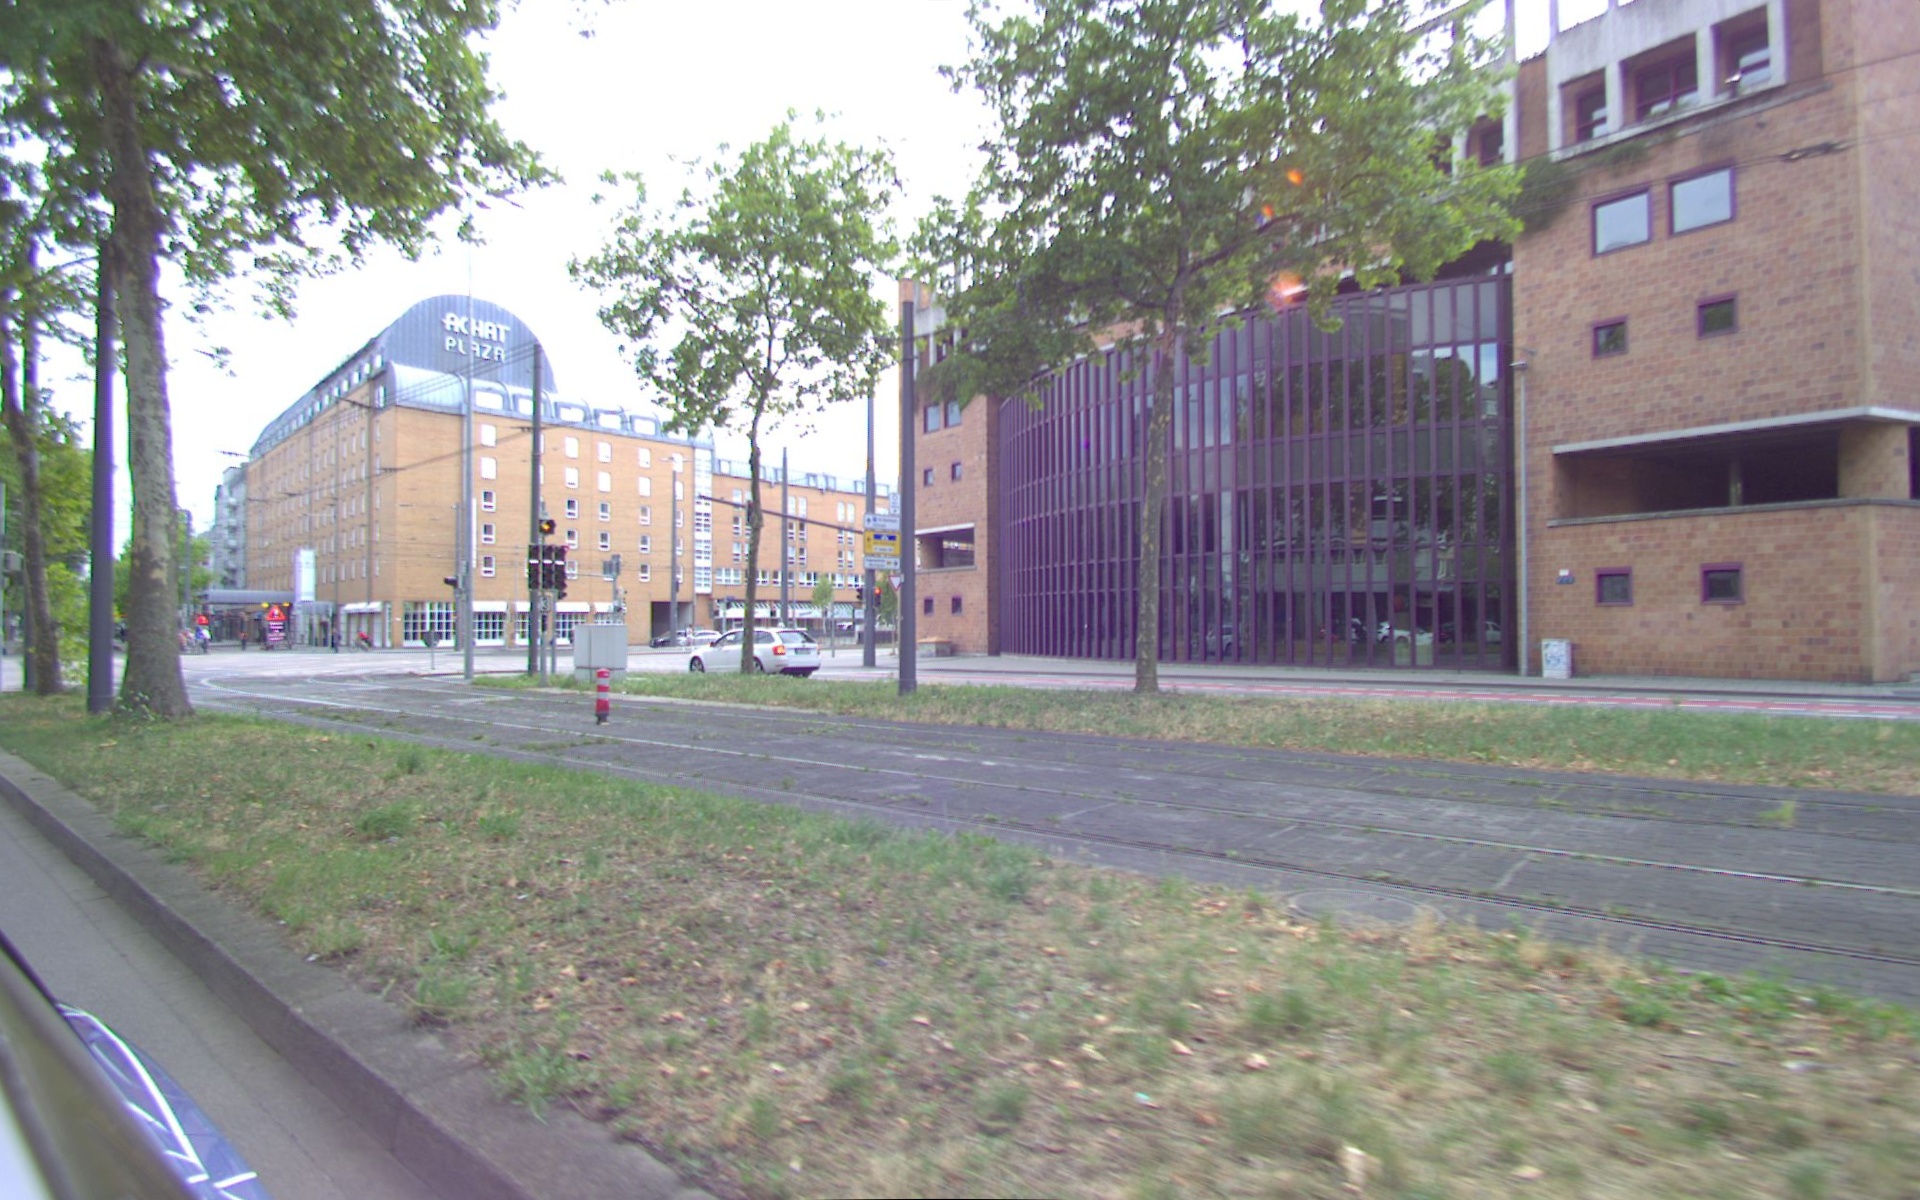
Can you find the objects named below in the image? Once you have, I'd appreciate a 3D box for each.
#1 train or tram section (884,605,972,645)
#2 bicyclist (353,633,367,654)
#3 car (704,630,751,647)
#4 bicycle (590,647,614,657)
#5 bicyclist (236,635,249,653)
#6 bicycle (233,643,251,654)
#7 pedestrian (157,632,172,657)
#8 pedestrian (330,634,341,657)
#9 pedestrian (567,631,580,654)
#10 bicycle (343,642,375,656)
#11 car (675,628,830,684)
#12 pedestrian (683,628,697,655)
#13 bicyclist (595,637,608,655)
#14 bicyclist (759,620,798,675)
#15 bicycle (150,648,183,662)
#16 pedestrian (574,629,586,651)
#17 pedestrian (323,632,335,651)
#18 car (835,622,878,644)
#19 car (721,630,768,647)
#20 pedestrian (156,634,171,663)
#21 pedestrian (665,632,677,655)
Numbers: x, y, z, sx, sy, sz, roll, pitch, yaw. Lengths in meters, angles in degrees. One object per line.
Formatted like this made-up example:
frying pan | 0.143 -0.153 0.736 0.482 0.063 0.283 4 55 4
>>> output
train or tram section | -2.816 2.318 93.633 2.574 3.477 9.482 -2 -3 39
bicyclist | -45.418 3.280 76.550 0.851 1.513 0.638 1 -2 -34
car | -21.072 3.464 91.834 1.700 1.453 3.949 -1 -2 38
bicycle | -30.127 4.383 85.199 0.639 0.787 1.773 -1 -2 38
bicyclist | -61.149 3.745 86.212 0.816 1.513 0.643 -1 -2 37
bicycle | -61.160 4.117 86.210 1.890 0.943 0.651 -1 -2 37
pedestrian | -55.489 3.097 70.615 0.533 1.719 0.677 -1 -2 33
pedestrian | -47.211 3.447 76.519 0.534 1.719 0.556 -1 -2 41
pedestrian | -30.356 3.343 79.450 0.749 1.745 0.571 -1 -2 35
bicycle | -45.439 3.715 76.528 2.026 1.016 0.642 1 -2 -34
car | -5.866 1.529 28.277 4.654 1.432 1.765 -2 -2 40
pedestrian | -17.937 2.735 67.189 0.750 1.745 0.571 -1 -2 39
bicyclist | -30.160 3.889 85.172 0.636 1.513 0.854 -1 -2 39
bicyclist | -5.432 1.421 30.281 0.901 1.622 0.715 -2 -3 40
bicycle | -54.277 3.757 69.233 0.499 0.895 1.688 -1 -2 44
pedestrian | -30.099 3.155 80.169 0.749 1.745 0.571 -1 -2 35
pedestrian | -50.666 3.333 81.268 0.642 1.518 0.534 0 -2 7
car | -10.668 3.380 104.653 1.700 2.247 4.773 -1 -2 38
car | -19.090 3.420 89.885 1.700 1.453 3.949 -1 -2 38
pedestrian | -54.138 3.313 68.805 0.534 1.967 0.684 -1 -2 39
pedestrian | -22.037 3.317 77.094 0.576 1.745 0.625 -1 -2 30
